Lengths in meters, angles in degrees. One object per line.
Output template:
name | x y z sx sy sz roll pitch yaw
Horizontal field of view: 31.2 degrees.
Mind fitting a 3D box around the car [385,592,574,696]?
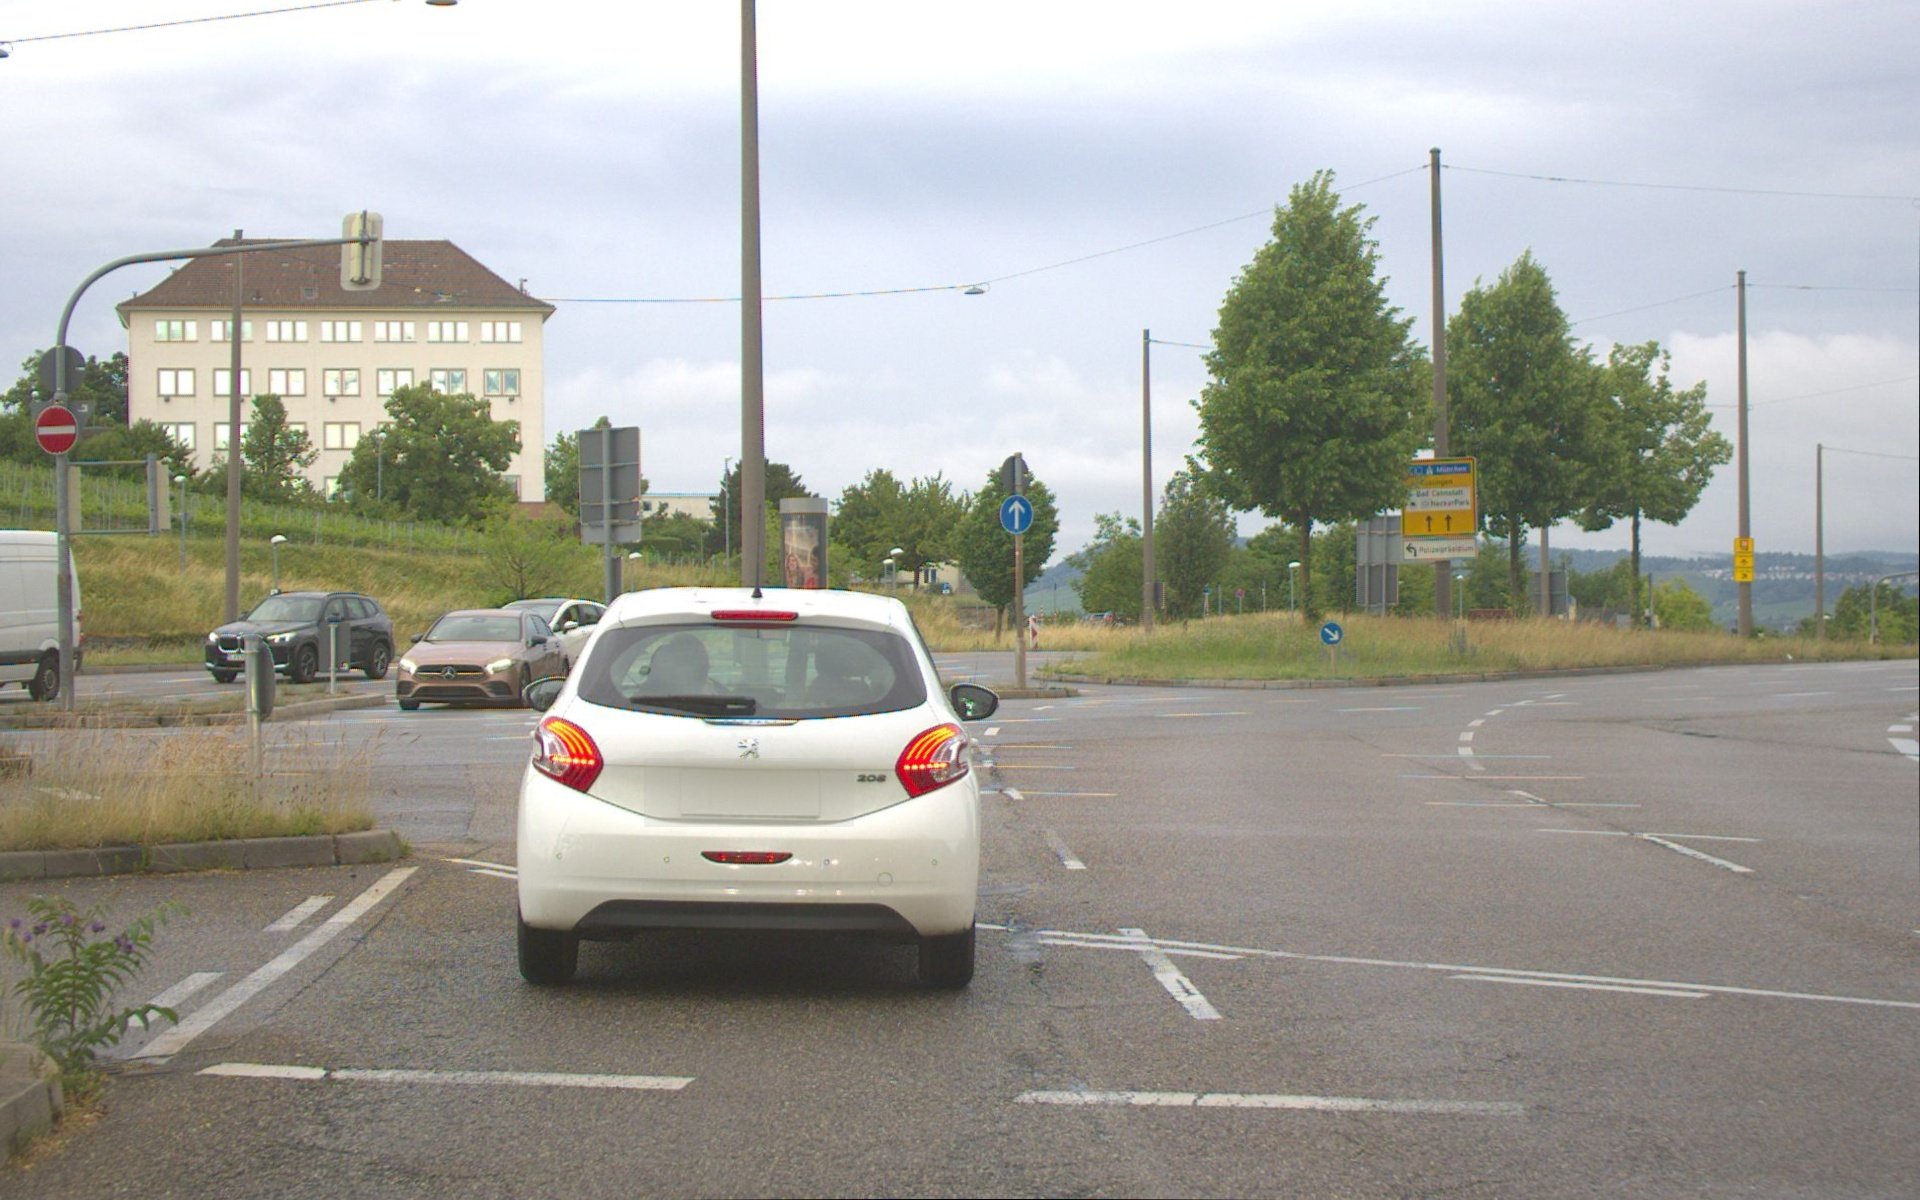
car | -6.891 0.621 49.753 1.776 1.420 4.373 -1 0 5

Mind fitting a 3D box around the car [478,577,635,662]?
car | -7.568 0.363 64.804 1.751 1.507 3.998 1 0 11

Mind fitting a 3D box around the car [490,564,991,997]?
car | -0.790 0.629 13.883 1.718 1.484 4.000 0 0 -1

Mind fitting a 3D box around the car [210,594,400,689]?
car | -11.945 0.754 63.011 1.777 1.630 4.506 1 0 12

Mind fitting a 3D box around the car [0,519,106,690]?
car | -15.258 0.043 51.564 1.995 2.550 6.165 1 0 15
